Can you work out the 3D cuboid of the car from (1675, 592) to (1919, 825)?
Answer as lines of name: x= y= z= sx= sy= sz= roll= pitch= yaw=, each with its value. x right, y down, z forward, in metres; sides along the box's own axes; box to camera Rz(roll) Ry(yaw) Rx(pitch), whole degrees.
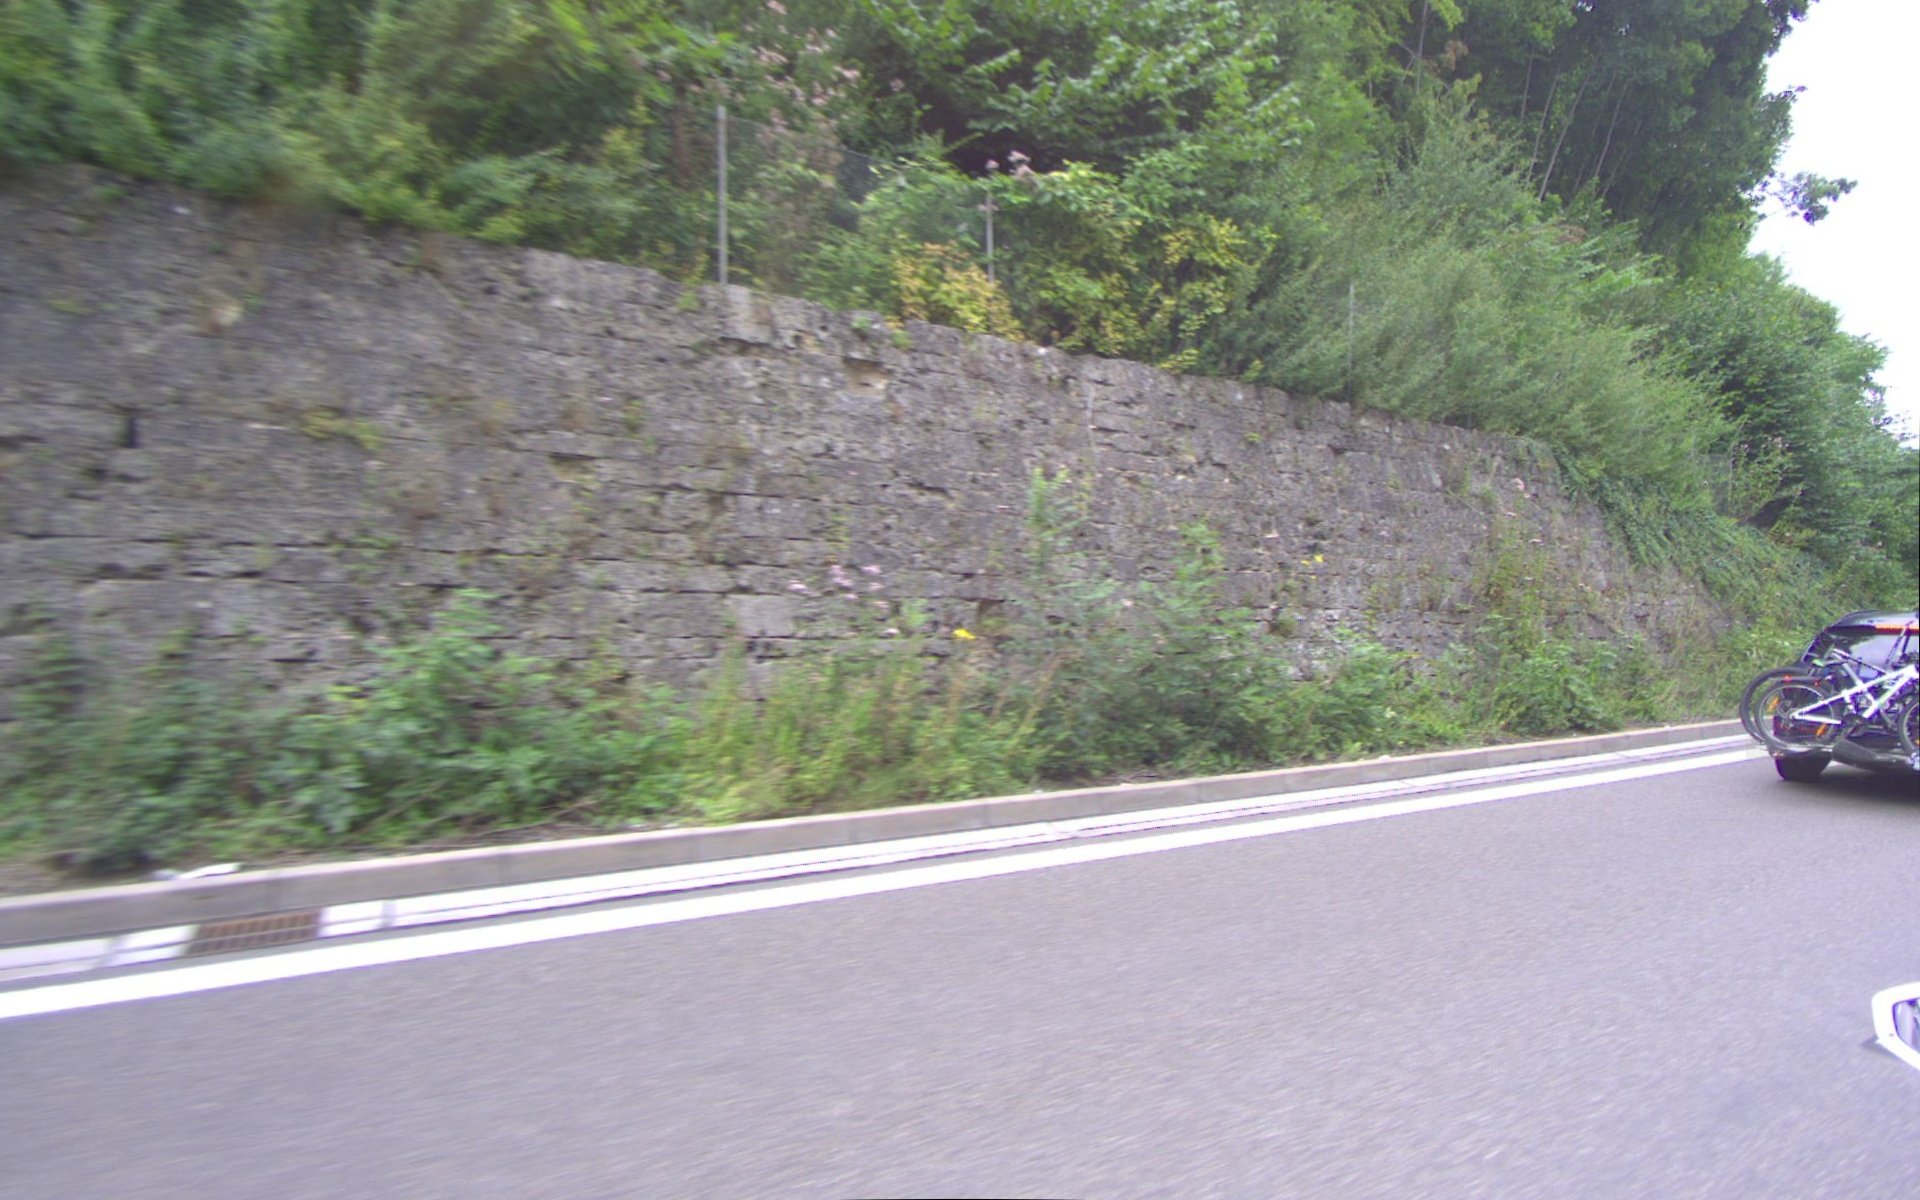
car: x=9.049 y=0.894 z=9.319 sx=5.526 sy=1.614 sz=1.959 roll=2 pitch=2 yaw=-33
